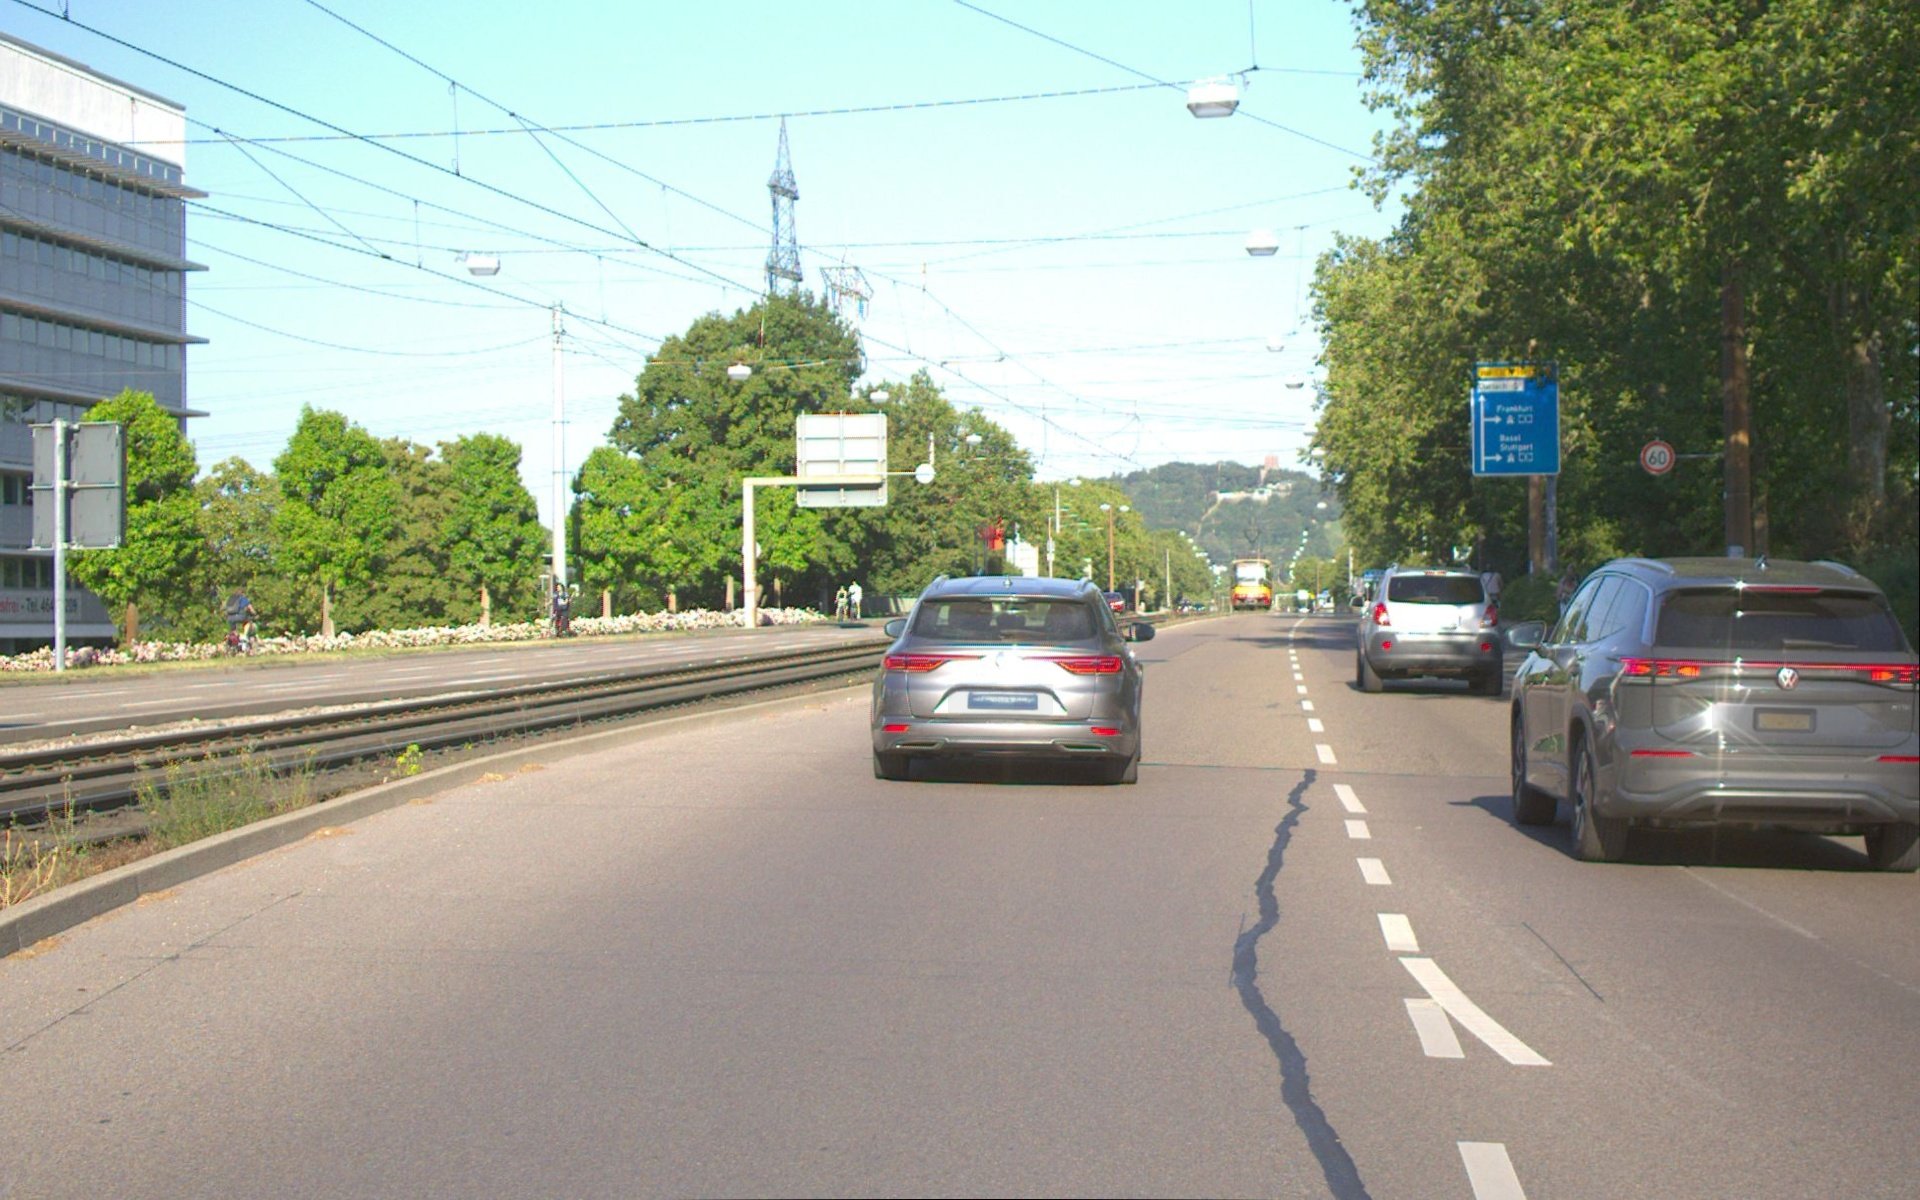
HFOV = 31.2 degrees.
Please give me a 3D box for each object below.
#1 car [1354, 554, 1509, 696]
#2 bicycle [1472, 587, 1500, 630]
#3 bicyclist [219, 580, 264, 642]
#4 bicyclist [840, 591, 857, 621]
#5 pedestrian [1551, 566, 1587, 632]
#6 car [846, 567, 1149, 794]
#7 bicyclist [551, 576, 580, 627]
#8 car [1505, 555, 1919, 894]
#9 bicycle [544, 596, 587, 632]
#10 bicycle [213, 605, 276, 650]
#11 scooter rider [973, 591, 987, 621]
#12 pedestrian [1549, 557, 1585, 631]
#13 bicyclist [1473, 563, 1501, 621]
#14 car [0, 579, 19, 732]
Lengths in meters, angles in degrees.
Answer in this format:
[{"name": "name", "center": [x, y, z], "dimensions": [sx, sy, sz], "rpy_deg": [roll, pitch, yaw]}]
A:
[{"name": "car", "center": [6.383, 0.309, 46.911], "dimensions": [1.884, 1.789, 3.999], "rpy_deg": [2, 1, 6]}, {"name": "bicycle", "center": [13.804, 0.213, 90.271], "dimensions": [0.622, 1.116, 1.812], "rpy_deg": [-1, 0, 6]}, {"name": "bicyclist", "center": [-17.807, 0.266, 85.260], "dimensions": [0.705, 1.507, 0.970], "rpy_deg": [2, 0, 13]}, {"name": "bicyclist", "center": [-5.193, 0.297, 159.617], "dimensions": [0.625, 1.369, 0.880], "rpy_deg": [2, 0, 7]}, {"name": "pedestrian", "center": [13.883, -0.027, 78.376], "dimensions": [0.723, 1.475, 0.722], "rpy_deg": [-1, 0, 6]}, {"name": "car", "center": [0.375, 0.522, 25.282], "dimensions": [1.866, 1.462, 4.665], "rpy_deg": [1, 0, 5]}, {"name": "bicyclist", "center": [-12.939, 0.051, 112.728], "dimensions": [0.661, 1.618, 0.800], "rpy_deg": [2, 0, 16]}, {"name": "car", "center": [4.229, 0.599, 19.329], "dimensions": [1.844, 1.655, 4.439], "rpy_deg": [1, 1, 3]}, {"name": "bicycle", "center": [-12.942, 0.454, 112.771], "dimensions": [0.661, 1.147, 2.020], "rpy_deg": [2, 1, 16]}, {"name": "bicycle", "center": [-17.781, 0.671, 85.435], "dimensions": [0.705, 1.069, 2.026], "rpy_deg": [2, 1, 13]}, {"name": "scooter rider", "center": [1.240, 0.394, 212.564], "dimensions": [0.682, 1.842, 1.000], "rpy_deg": [-1, 0, 14]}, {"name": "pedestrian", "center": [14.046, -0.145, 79.581], "dimensions": [0.722, 1.702, 0.813], "rpy_deg": [-1, 0, 6]}, {"name": "bicyclist", "center": [13.826, -0.207, 90.217], "dimensions": [0.685, 1.503, 0.890], "rpy_deg": [0, 0, 6]}, {"name": "car", "center": [-11.536, 0.627, 35.246], "dimensions": [1.994, 1.650, 4.657], "rpy_deg": [-1, 0, 7]}]
